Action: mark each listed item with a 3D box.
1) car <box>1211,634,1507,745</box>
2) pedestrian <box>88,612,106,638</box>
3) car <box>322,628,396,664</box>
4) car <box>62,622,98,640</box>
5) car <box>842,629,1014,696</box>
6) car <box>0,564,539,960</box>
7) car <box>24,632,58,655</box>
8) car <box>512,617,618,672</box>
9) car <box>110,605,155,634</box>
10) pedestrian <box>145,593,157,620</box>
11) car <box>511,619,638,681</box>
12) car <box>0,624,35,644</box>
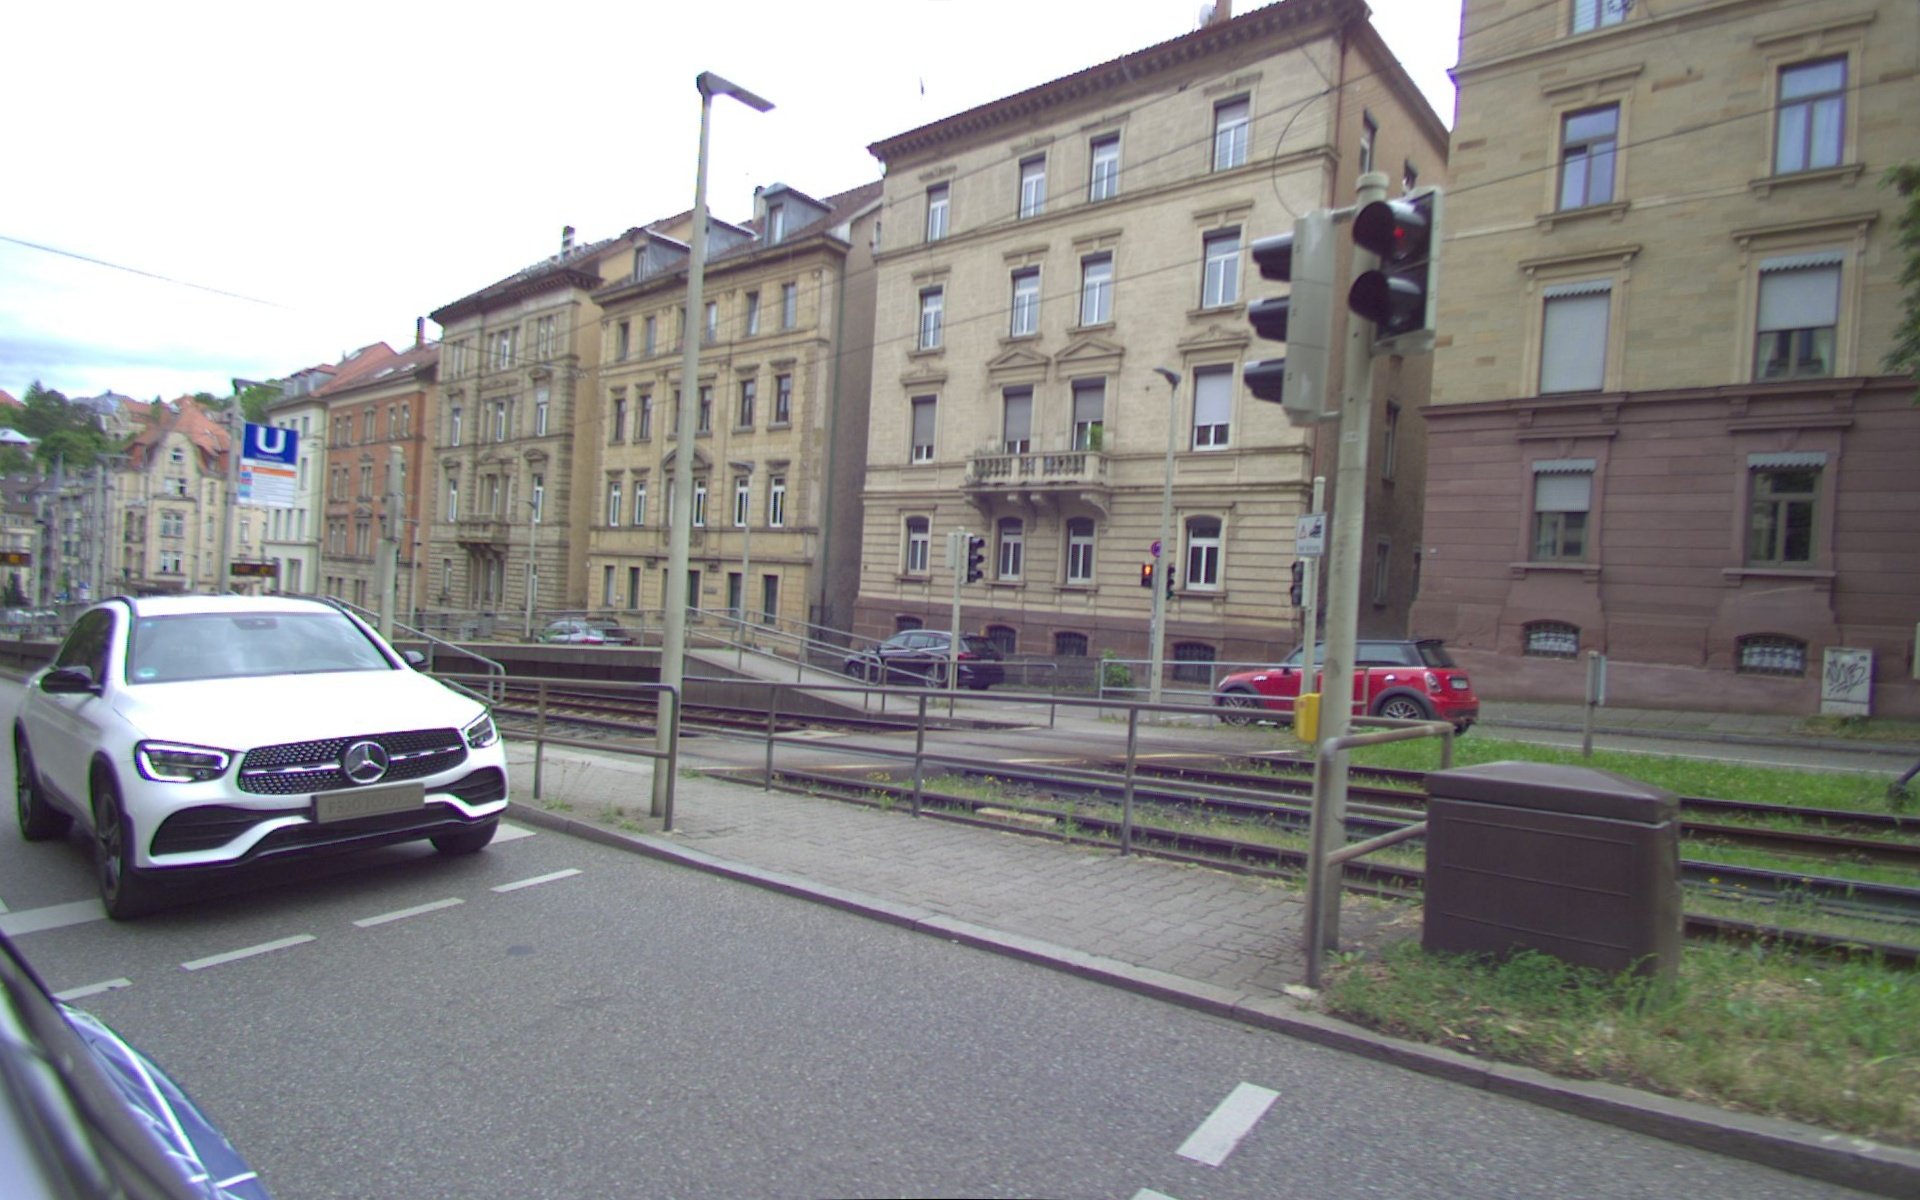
[{"bbox_3d":[5.638,1.191,14.585,1.558,1.388,3.658,2,-3,-44],"label":"car"},{"bbox_3d":[-55.764,1.629,65.390,0.843,1.701,0.757,-2,-3,41],"label":"pedestrian"},{"bbox_3d":[-29.622,2.256,49.834,3.997,1.692,1.916,-2,-4,41],"label":"car"},{"bbox_3d":[-83.307,2.961,95.791,4.411,1.658,1.843,-1,-3,40],"label":"car"},{"bbox_3d":[-0.843,1.468,24.583,4.217,1.458,1.660,-1,-3,42],"label":"car"},{"bbox_3d":[-4.719,0.709,6.518,4.668,1.679,1.817,-1,-1,41],"label":"car"},{"bbox_3d":[-95.536,4.519,105.172,5.452,2.322,1.973,-1,-3,41],"label":"car"},{"bbox_3d":[-14.246,1.571,36.410,4.136,1.874,1.829,-1,-3,41],"label":"car"},{"bbox_3d":[-68.908,1.679,84.211,5.452,2.322,1.973,-1,-3,41],"label":"car"},{"bbox_3d":[-46.824,0.390,58.573,0.540,1.574,0.457,-2,-3,40],"label":"pedestrian"},{"bbox_3d":[-11.830,1.487,30.890,4.574,1.749,1.691,-1,-3,42],"label":"car"},{"bbox_3d":[-92.848,3.363,99.673,4.411,1.909,1.973,-1,-3,40],"label":"car"}]
